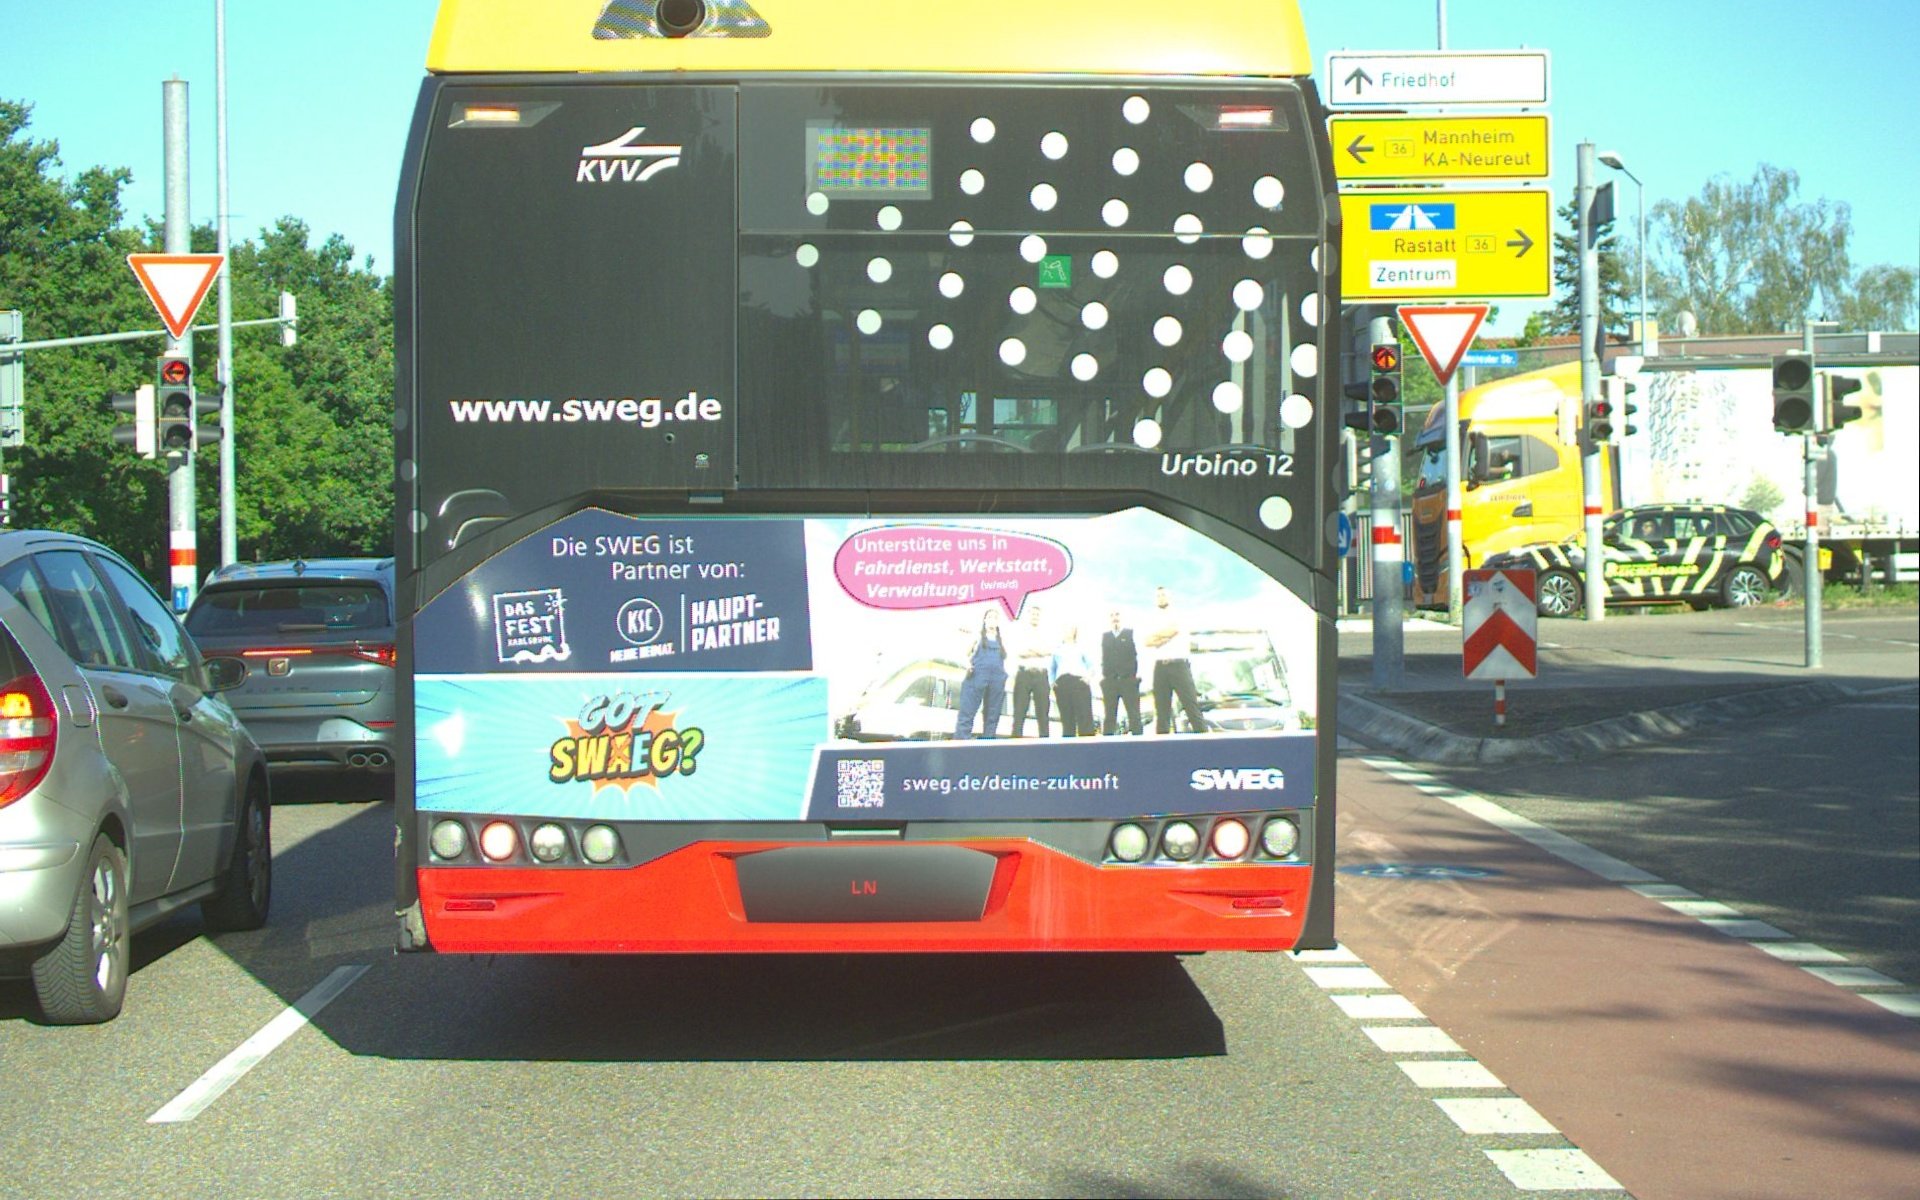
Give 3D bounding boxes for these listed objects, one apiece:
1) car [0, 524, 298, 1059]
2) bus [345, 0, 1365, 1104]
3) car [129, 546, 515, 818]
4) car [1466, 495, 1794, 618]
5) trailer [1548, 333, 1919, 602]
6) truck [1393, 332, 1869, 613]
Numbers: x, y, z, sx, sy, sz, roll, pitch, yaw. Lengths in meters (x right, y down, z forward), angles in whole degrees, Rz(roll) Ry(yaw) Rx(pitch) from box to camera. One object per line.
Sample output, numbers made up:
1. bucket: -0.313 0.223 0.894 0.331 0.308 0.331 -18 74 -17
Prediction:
1. car: -3.606 0.559 12.190 1.761 1.584 4.000 -2 1 -1
2. bus: -0.293 -0.403 14.889 2.642 3.156 11.861 0 1 0
3. car: -3.812 0.428 21.122 1.692 1.453 3.751 -2 1 -1
4. car: 9.228 -0.603 47.523 4.066 1.521 1.769 -2 1 -5
5. trailer: 17.165 -2.263 55.410 14.653 3.999 3.441 -2 1 -7
6. truck: 10.559 -1.990 54.568 6.474 3.999 3.441 -3 1 -7
